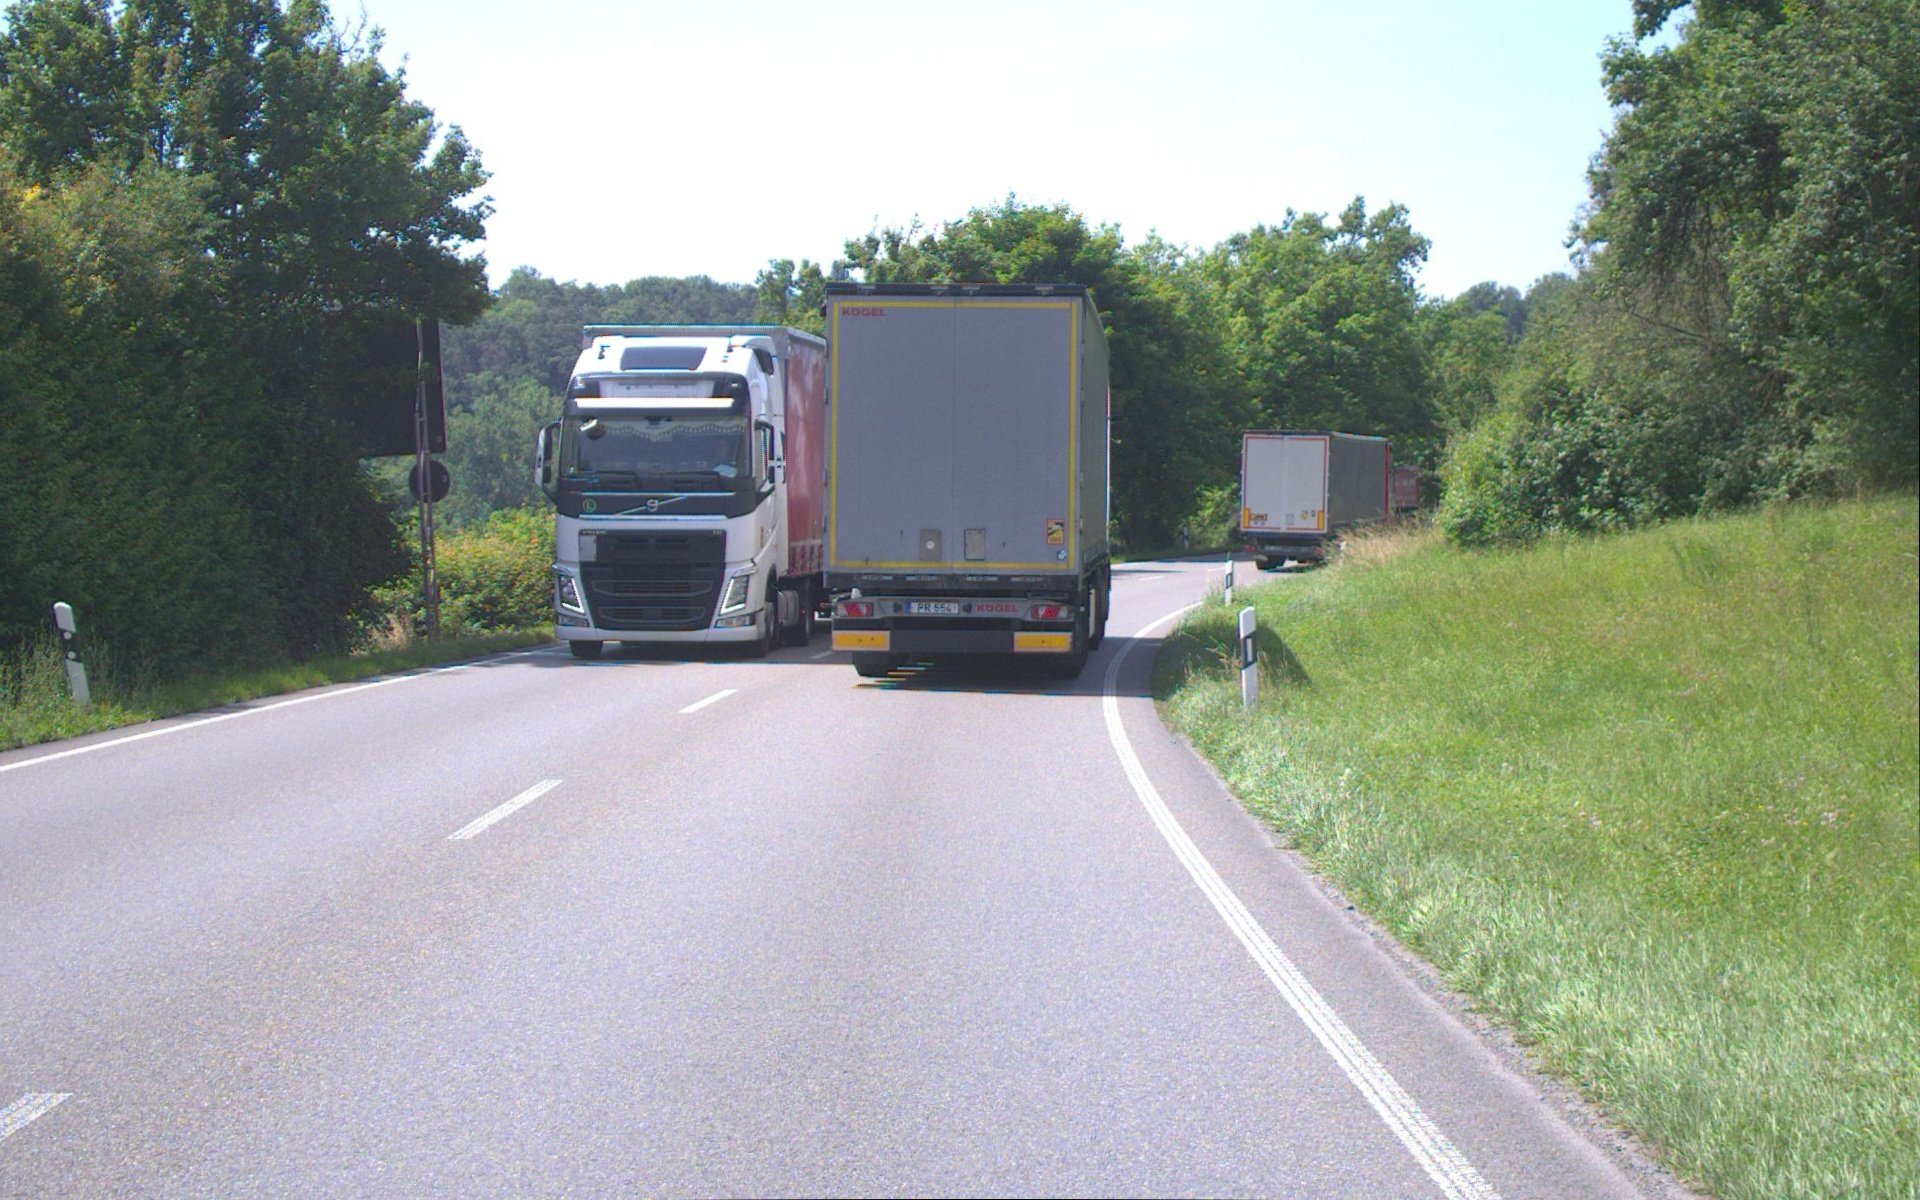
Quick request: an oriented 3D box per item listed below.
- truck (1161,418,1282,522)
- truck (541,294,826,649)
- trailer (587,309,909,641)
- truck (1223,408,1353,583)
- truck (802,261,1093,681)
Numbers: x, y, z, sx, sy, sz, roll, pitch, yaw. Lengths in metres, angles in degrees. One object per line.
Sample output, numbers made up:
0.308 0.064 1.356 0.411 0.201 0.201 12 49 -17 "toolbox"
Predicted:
9.461 -4.695 123.090 2.554 3.440 12.629 -2 2 12 "truck"
-3.335 -1.564 42.886 2.559 4.101 5.799 1 1 5 "truck"
-2.740 -1.710 49.502 2.569 4.094 13.660 1 1 5 "trailer"
10.230 -3.304 105.602 3.106 4.689 16.586 -5 2 7 "truck"
0.062 -1.377 41.086 2.802 4.054 15.325 0 1 1 "truck"
